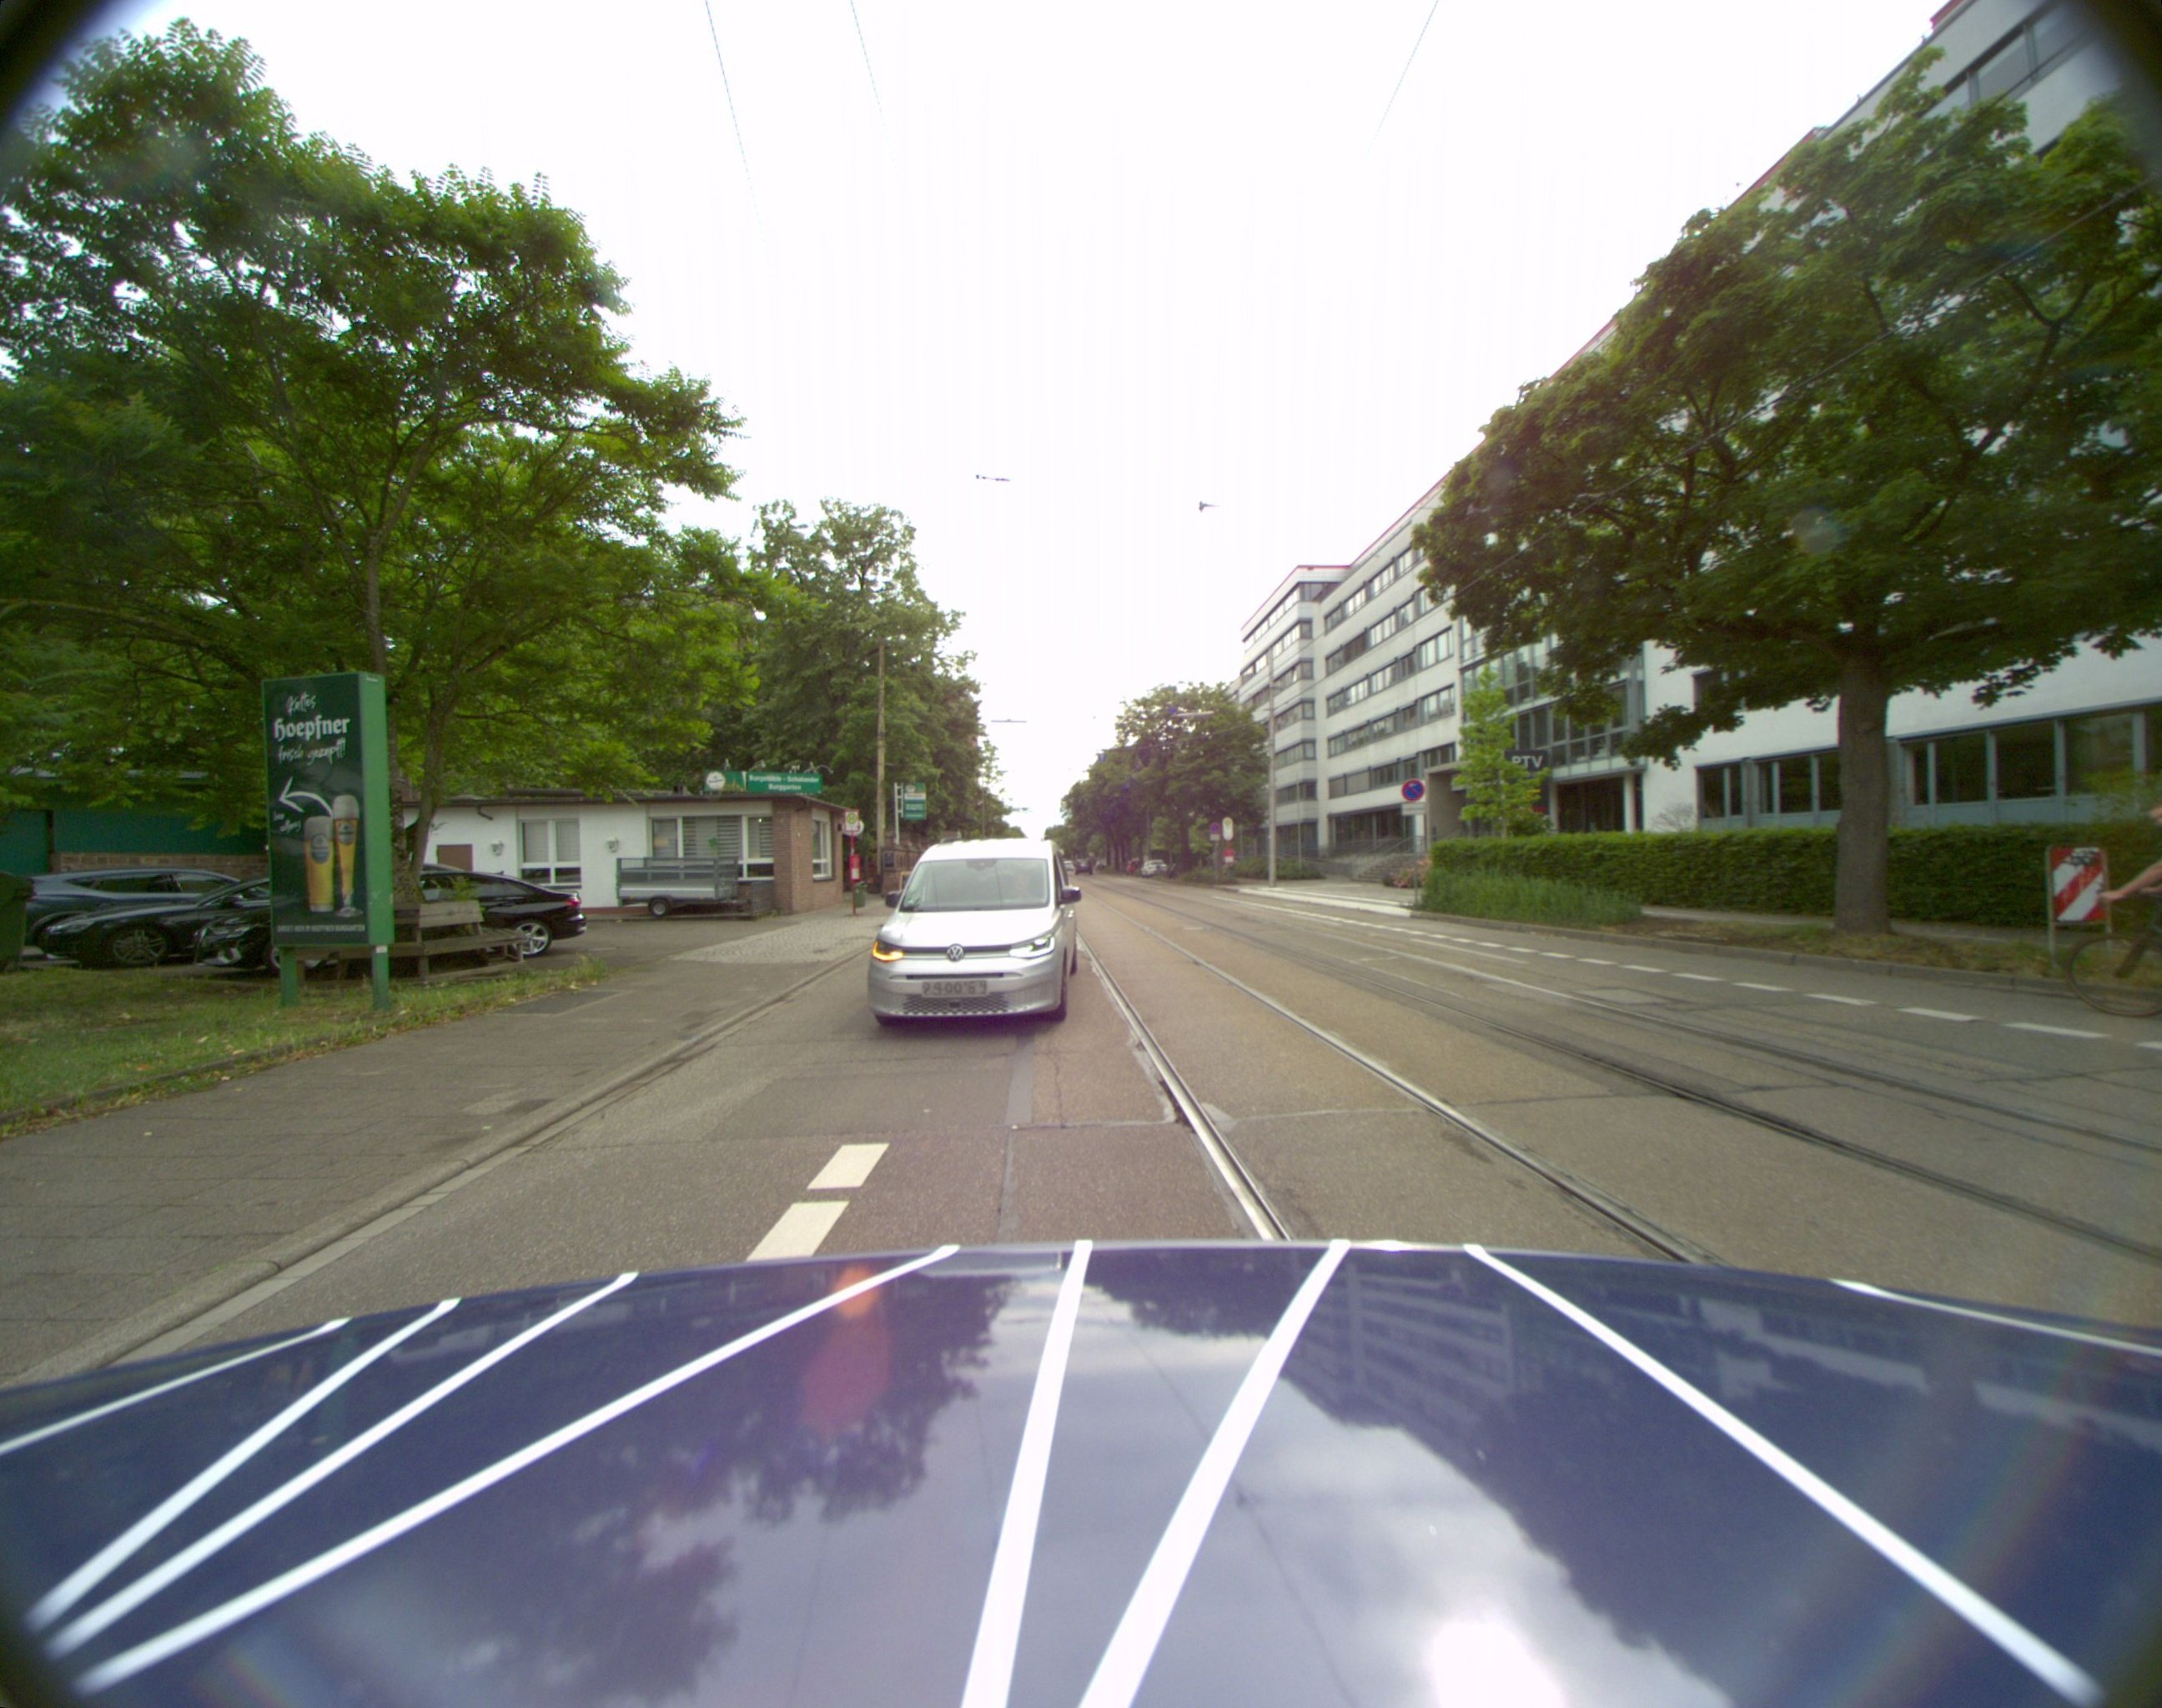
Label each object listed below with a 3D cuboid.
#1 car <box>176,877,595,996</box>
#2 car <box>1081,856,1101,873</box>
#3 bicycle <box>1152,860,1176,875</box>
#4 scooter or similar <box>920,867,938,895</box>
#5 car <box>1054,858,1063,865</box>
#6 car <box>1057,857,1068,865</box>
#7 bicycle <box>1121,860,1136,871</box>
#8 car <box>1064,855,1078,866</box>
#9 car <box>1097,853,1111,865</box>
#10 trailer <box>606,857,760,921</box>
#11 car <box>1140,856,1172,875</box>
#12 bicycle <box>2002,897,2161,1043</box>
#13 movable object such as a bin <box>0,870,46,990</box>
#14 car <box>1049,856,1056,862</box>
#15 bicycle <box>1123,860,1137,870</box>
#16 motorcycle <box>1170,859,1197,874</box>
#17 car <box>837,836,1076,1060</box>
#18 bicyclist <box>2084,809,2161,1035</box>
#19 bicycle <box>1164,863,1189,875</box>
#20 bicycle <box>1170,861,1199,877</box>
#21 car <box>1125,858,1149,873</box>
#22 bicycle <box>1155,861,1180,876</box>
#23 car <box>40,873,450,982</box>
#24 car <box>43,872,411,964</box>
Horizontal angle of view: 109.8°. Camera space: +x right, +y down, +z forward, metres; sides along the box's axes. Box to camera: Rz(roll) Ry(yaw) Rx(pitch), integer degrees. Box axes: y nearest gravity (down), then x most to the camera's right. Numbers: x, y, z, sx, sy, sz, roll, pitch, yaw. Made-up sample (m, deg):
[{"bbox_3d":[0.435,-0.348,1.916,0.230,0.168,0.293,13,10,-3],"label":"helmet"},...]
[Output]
[{"bbox_3d":[-10.522,1.100,11.851,1.929,1.399,4.594,-1,-1,41],"label":"car"},{"bbox_3d":[1.042,1.103,81.306,1.832,1.727,4.334,-1,0,-3],"label":"car"},{"bbox_3d":[6.720,1.108,61.417,1.869,1.180,0.632,0,1,1],"label":"bicycle"},{"bbox_3d":[-6.996,1.242,35.023,0.578,1.232,1.409,2,0,-3],"label":"scooter or similar"},{"bbox_3d":[-5.205,1.779,174.829,1.847,1.644,4.388,1,-1,-3],"label":"car"},{"bbox_3d":[-3.452,1.269,141.541,1.752,1.477,4.062,-1,-1,-3],"label":"car"},{"bbox_3d":[5.240,1.259,84.381,1.475,1.085,0.616,-3,1,-16],"label":"bicycle"},{"bbox_3d":[-1.532,0.941,114.207,1.708,1.521,3.740,-2,1,-4],"label":"car"},{"bbox_3d":[3.455,0.717,115.319,1.815,1.699,3.999,-3,1,0],"label":"car"},{"bbox_3d":[-10.481,0.902,20.186,3.170,1.530,1.620,-1,1,-2],"label":"trailer"},{"bbox_3d":[6.319,0.967,64.340,1.886,1.484,4.752,-3,0,-3],"label":"car"},{"bbox_3d":[8.661,0.922,5.842,0.589,1.067,1.955,0,0,-13],"label":"bicycle"},{"bbox_3d":[-14.365,0.966,9.777,1.418,1.504,1.127,-2,-4,38],"label":"movable object such as a bin"},{"bbox_3d":[-7.723,1.293,205.012,1.746,1.490,4.259,-2,0,-5],"label":"car"},{"bbox_3d":[5.512,1.241,85.402,1.473,1.134,0.617,-1,1,-5],"label":"bicycle"},{"bbox_3d":[7.574,0.941,56.314,1.794,1.044,0.732,-2,1,-10],"label":"motorcycle"},{"bbox_3d":[-1.027,0.784,8.640,1.850,1.796,4.937,-1,0,0],"label":"car"},{"bbox_3d":[8.706,0.523,5.845,0.738,1.739,0.978,0,0,-13],"label":"bicyclist"},{"bbox_3d":[7.261,1.135,57.889,1.812,0.894,0.632,-1,1,-9],"label":"bicycle"},{"bbox_3d":[7.347,1.054,54.039,1.834,1.047,0.741,-2,0,-12],"label":"bicycle"},{"bbox_3d":[5.726,1.154,77.663,1.633,1.439,3.755,-4,1,-7],"label":"car"},{"bbox_3d":[6.867,1.140,60.263,1.812,1.093,0.632,-1,1,-9],"label":"bicycle"},{"bbox_3d":[-14.042,1.097,13.124,1.872,1.419,4.552,2,1,39],"label":"car"},{"bbox_3d":[-16.046,1.087,14.546,1.980,1.450,4.501,-1,-2,36],"label":"car"}]
